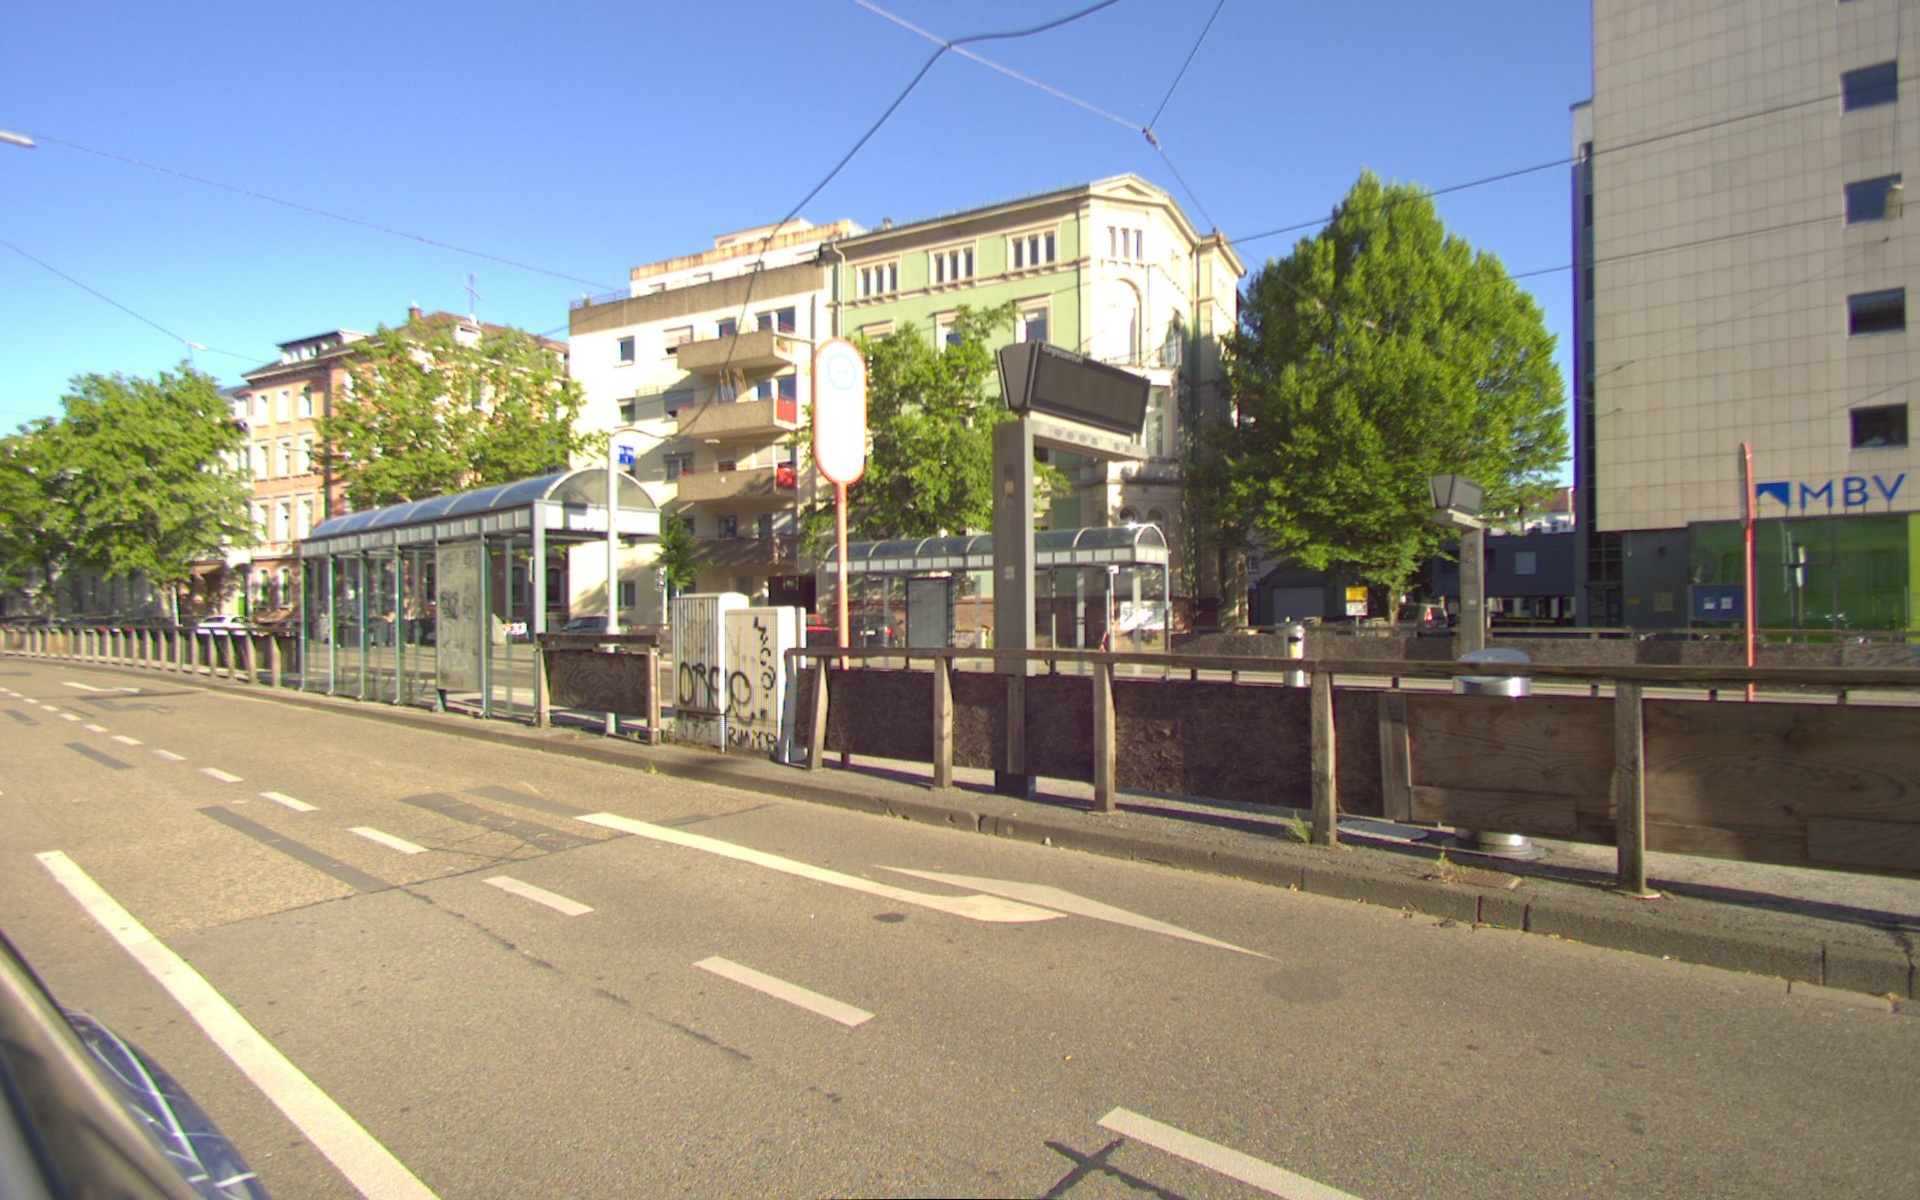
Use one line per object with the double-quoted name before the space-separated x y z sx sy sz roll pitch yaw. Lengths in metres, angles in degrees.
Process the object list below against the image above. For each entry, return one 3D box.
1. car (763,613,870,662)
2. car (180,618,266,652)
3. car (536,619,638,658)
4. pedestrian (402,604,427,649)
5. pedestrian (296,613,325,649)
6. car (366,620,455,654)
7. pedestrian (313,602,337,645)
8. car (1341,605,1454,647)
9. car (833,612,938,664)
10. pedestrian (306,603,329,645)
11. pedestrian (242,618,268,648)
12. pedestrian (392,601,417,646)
"car" -4.835 1.253 34.645 1.754 1.594 3.965 -1 -1 26
"car" -39.497 1.845 54.369 1.825 1.721 4.130 0 -1 -5
"car" -14.268 1.447 38.665 3.725 1.438 1.637 -1 -1 29
"pedestrian" -27.020 1.306 50.152 0.753 2.224 0.804 -1 -2 30
"pedestrian" -32.199 1.521 50.141 1.016 1.733 0.846 -1 -2 32
"car" -23.724 1.597 43.675 3.986 1.407 1.592 -1 -2 32
"pedestrian" -33.075 1.243 52.732 0.753 2.224 0.804 -1 -2 30
"car" 15.724 0.896 36.478 1.544 1.423 3.430 -1 0 -38
"car" -2.401 1.222 33.597 1.754 1.594 3.965 -1 -1 26
"pedestrian" -34.172 1.257 53.859 0.755 2.224 0.803 -1 -2 36
"pedestrian" -40.221 1.877 57.712 0.885 1.641 0.863 -1 -1 19
"pedestrian" -27.847 1.175 50.713 0.753 2.224 0.804 -1 -2 30
